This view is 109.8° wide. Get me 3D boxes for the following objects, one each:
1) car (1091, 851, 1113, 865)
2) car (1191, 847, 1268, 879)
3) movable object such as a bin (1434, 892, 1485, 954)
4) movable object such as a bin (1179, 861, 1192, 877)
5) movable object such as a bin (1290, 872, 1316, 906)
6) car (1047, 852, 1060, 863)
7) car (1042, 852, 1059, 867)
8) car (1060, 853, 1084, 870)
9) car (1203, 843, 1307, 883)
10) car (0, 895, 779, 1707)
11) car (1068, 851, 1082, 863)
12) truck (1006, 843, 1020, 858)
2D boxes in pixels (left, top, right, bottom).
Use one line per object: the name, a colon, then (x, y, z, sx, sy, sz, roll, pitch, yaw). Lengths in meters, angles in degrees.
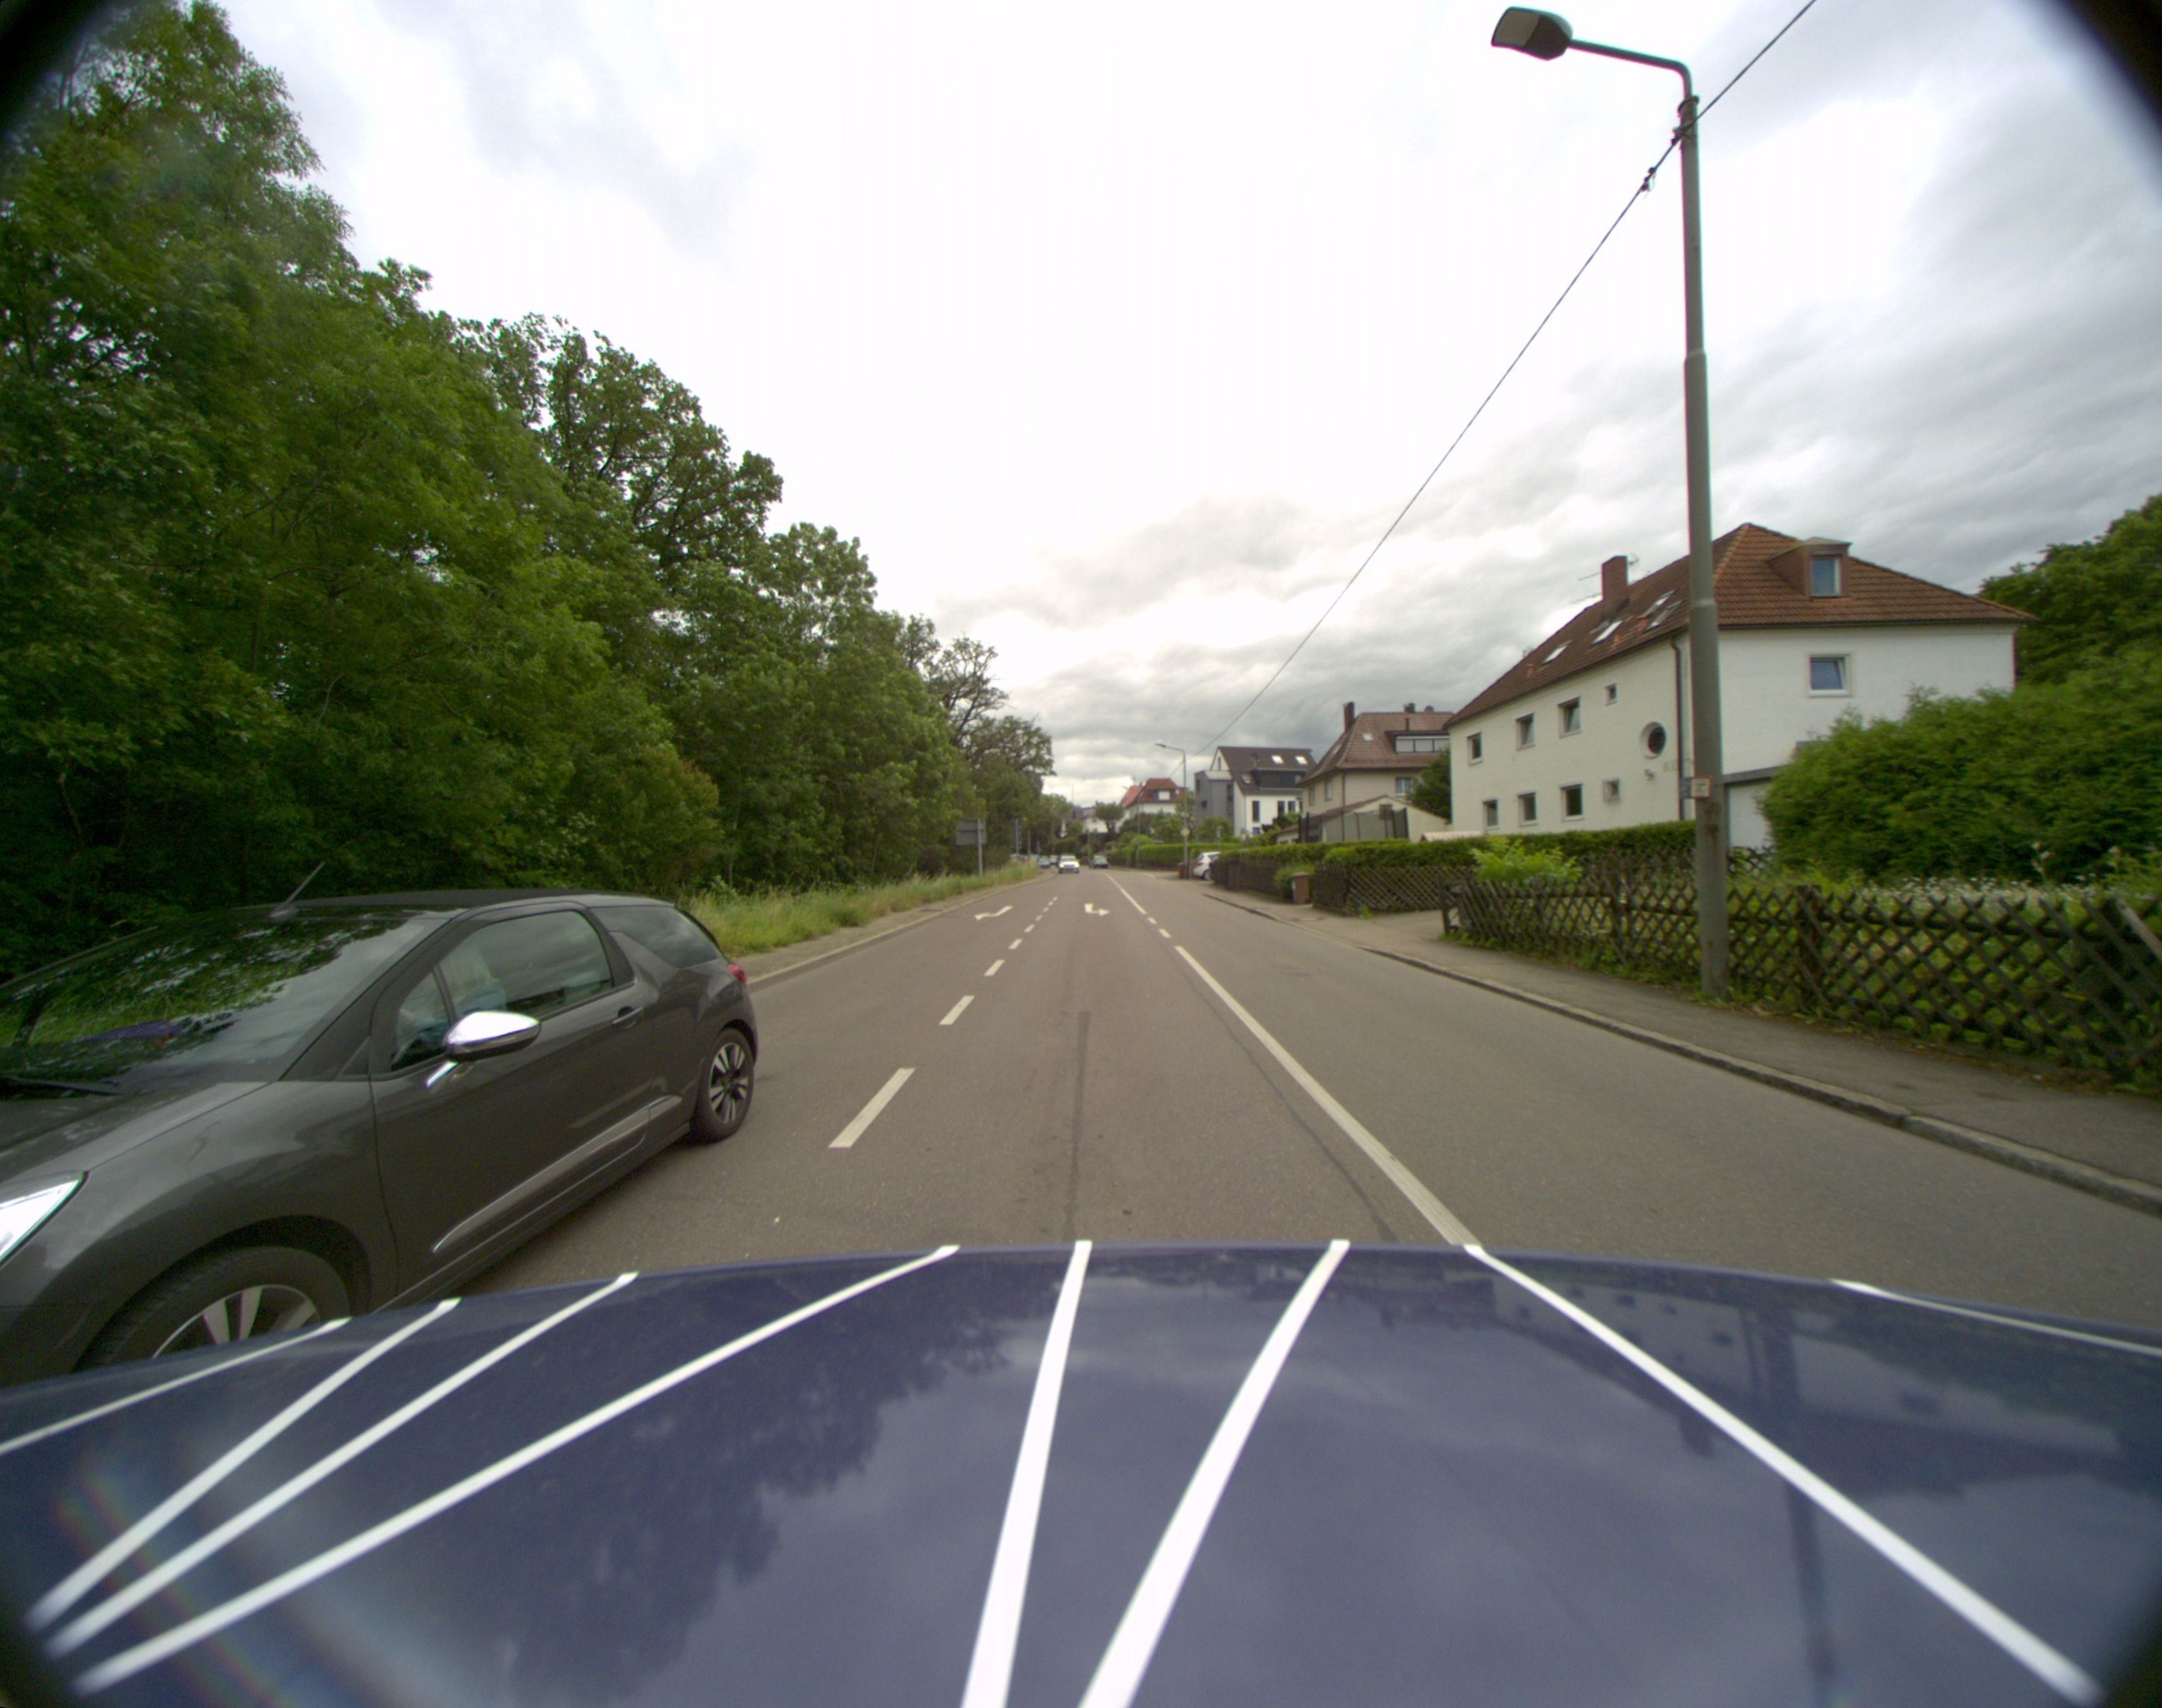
car: (2.403, 0.432, 89.320, 1.840, 1.514, 3.996, -1, 0, -9)
car: (8.511, 0.478, 43.719, 3.997, 1.584, 1.718, -3, 1, 1)
movable object such as a bin: (6.034, 1.089, 12.145, 0.551, 0.933, 0.537, -1, 1, 2)
movable object such as a bin: (6.397, 0.895, 46.506, 0.689, 0.948, 0.572, -1, 1, 4)
movable object such as a bin: (6.336, 1.000, 21.698, 0.634, 0.908, 0.561, -2, 0, 11)
car: (-4.597, 0.561, 126.599, 1.833, 1.665, 3.996, -1, 2, -8)
car: (-4.071, 0.717, 101.844, 1.998, 2.002, 4.000, -1, 0, 1)
car: (-0.836, 0.658, 72.868, 1.998, 1.565, 4.000, -1, 0, 2)
car: (8.703, 0.439, 38.262, 4.682, 1.660, 1.882, -3, 1, -1)
car: (-2.863, 1.026, 2.876, 1.730, 1.449, 3.855, -2, 1, 2)
car: (-0.898, 0.366, 104.742, 1.818, 1.590, 3.955, -1, 0, -2)
truck: (-16.662, -0.825, 186.425, 3.008, 3.618, 7.082, -1, 1, -8)
